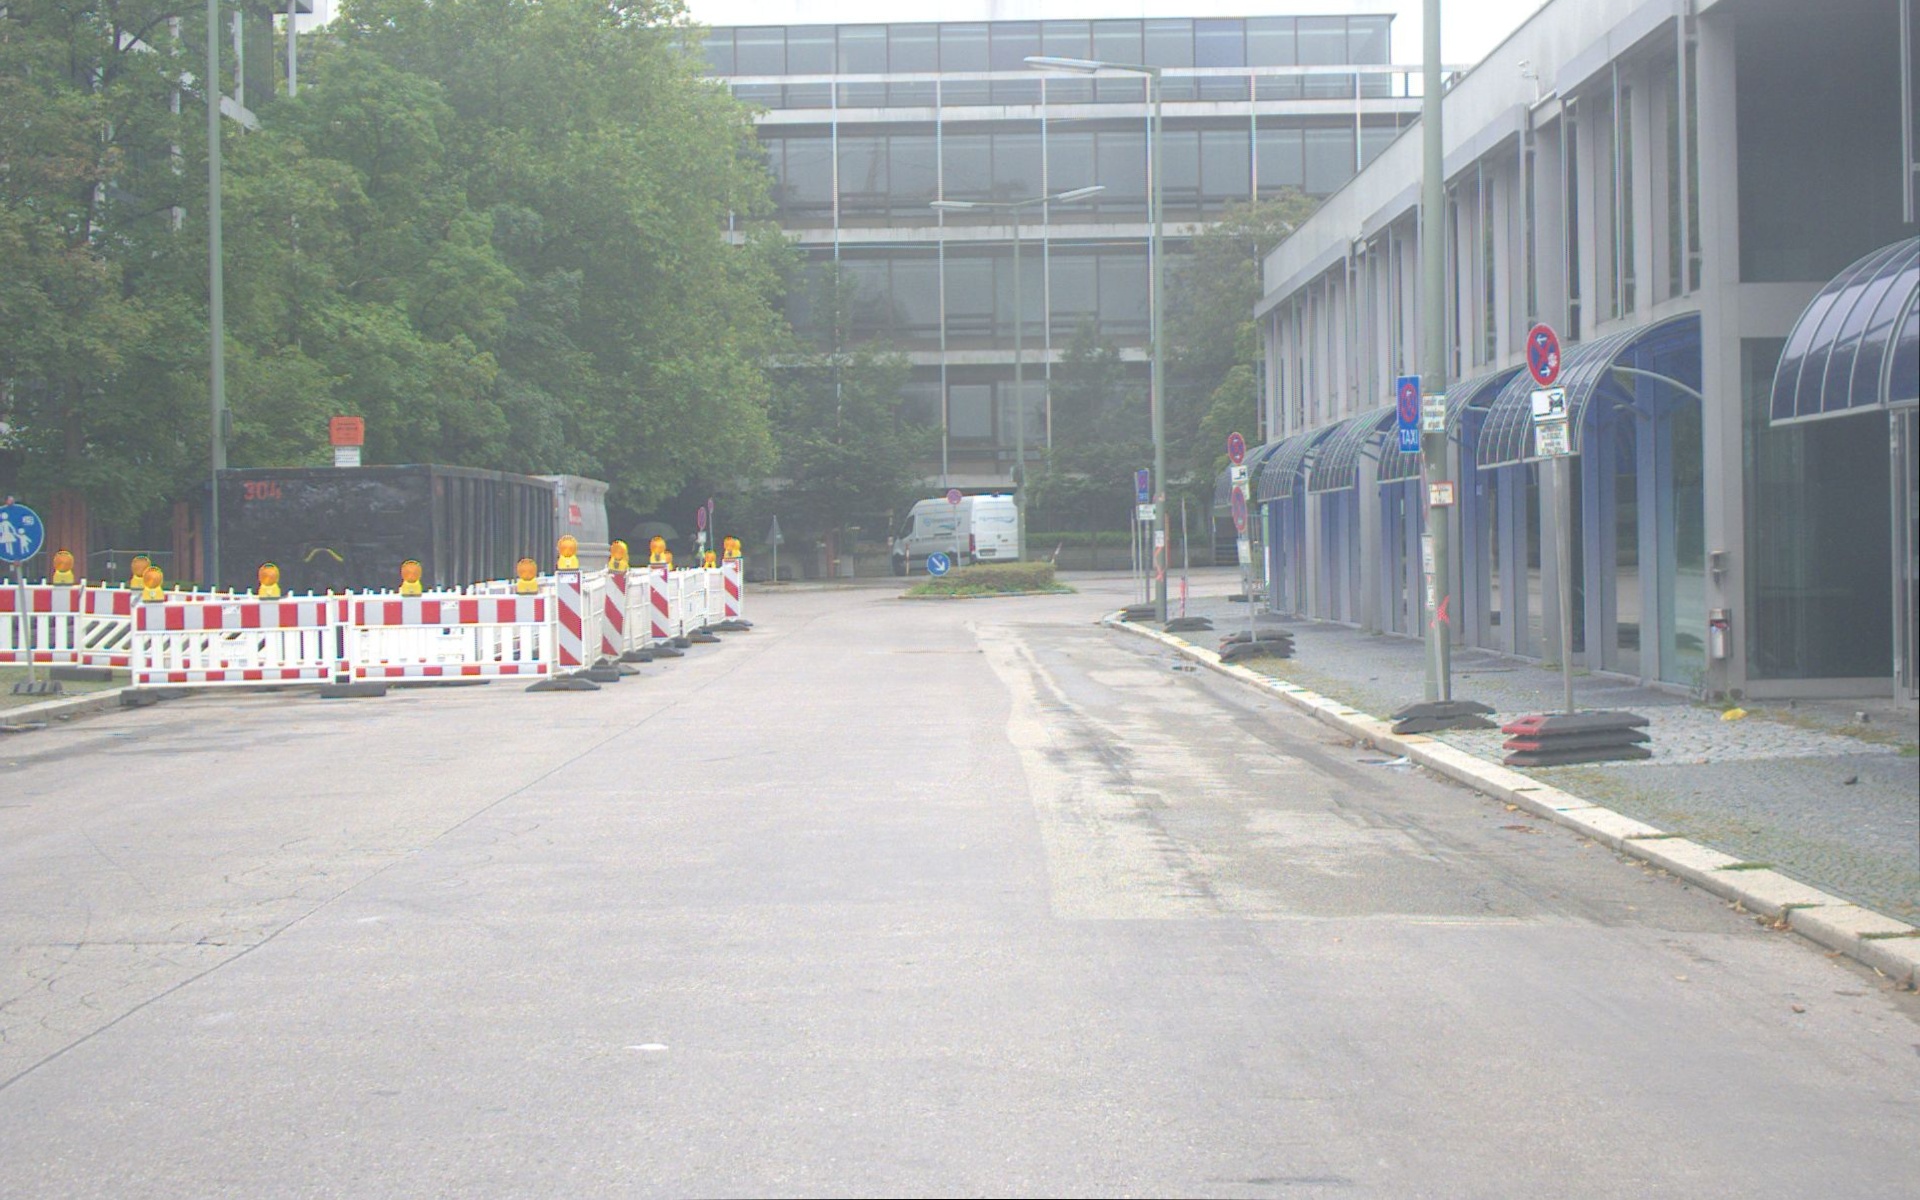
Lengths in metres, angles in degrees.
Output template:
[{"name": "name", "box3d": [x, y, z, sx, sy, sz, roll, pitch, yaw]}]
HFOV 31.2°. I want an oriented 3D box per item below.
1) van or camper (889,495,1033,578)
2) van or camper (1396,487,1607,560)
[{"name": "van or camper", "box3d": [-0.015, -2.088, 115.144, 2.155, 2.572, 6.540, -1, 0, -26]}, {"name": "van or camper", "box3d": [17.636, -2.489, 112.091, 6.396, 2.273, 2.256, -1, 1, -14]}]
